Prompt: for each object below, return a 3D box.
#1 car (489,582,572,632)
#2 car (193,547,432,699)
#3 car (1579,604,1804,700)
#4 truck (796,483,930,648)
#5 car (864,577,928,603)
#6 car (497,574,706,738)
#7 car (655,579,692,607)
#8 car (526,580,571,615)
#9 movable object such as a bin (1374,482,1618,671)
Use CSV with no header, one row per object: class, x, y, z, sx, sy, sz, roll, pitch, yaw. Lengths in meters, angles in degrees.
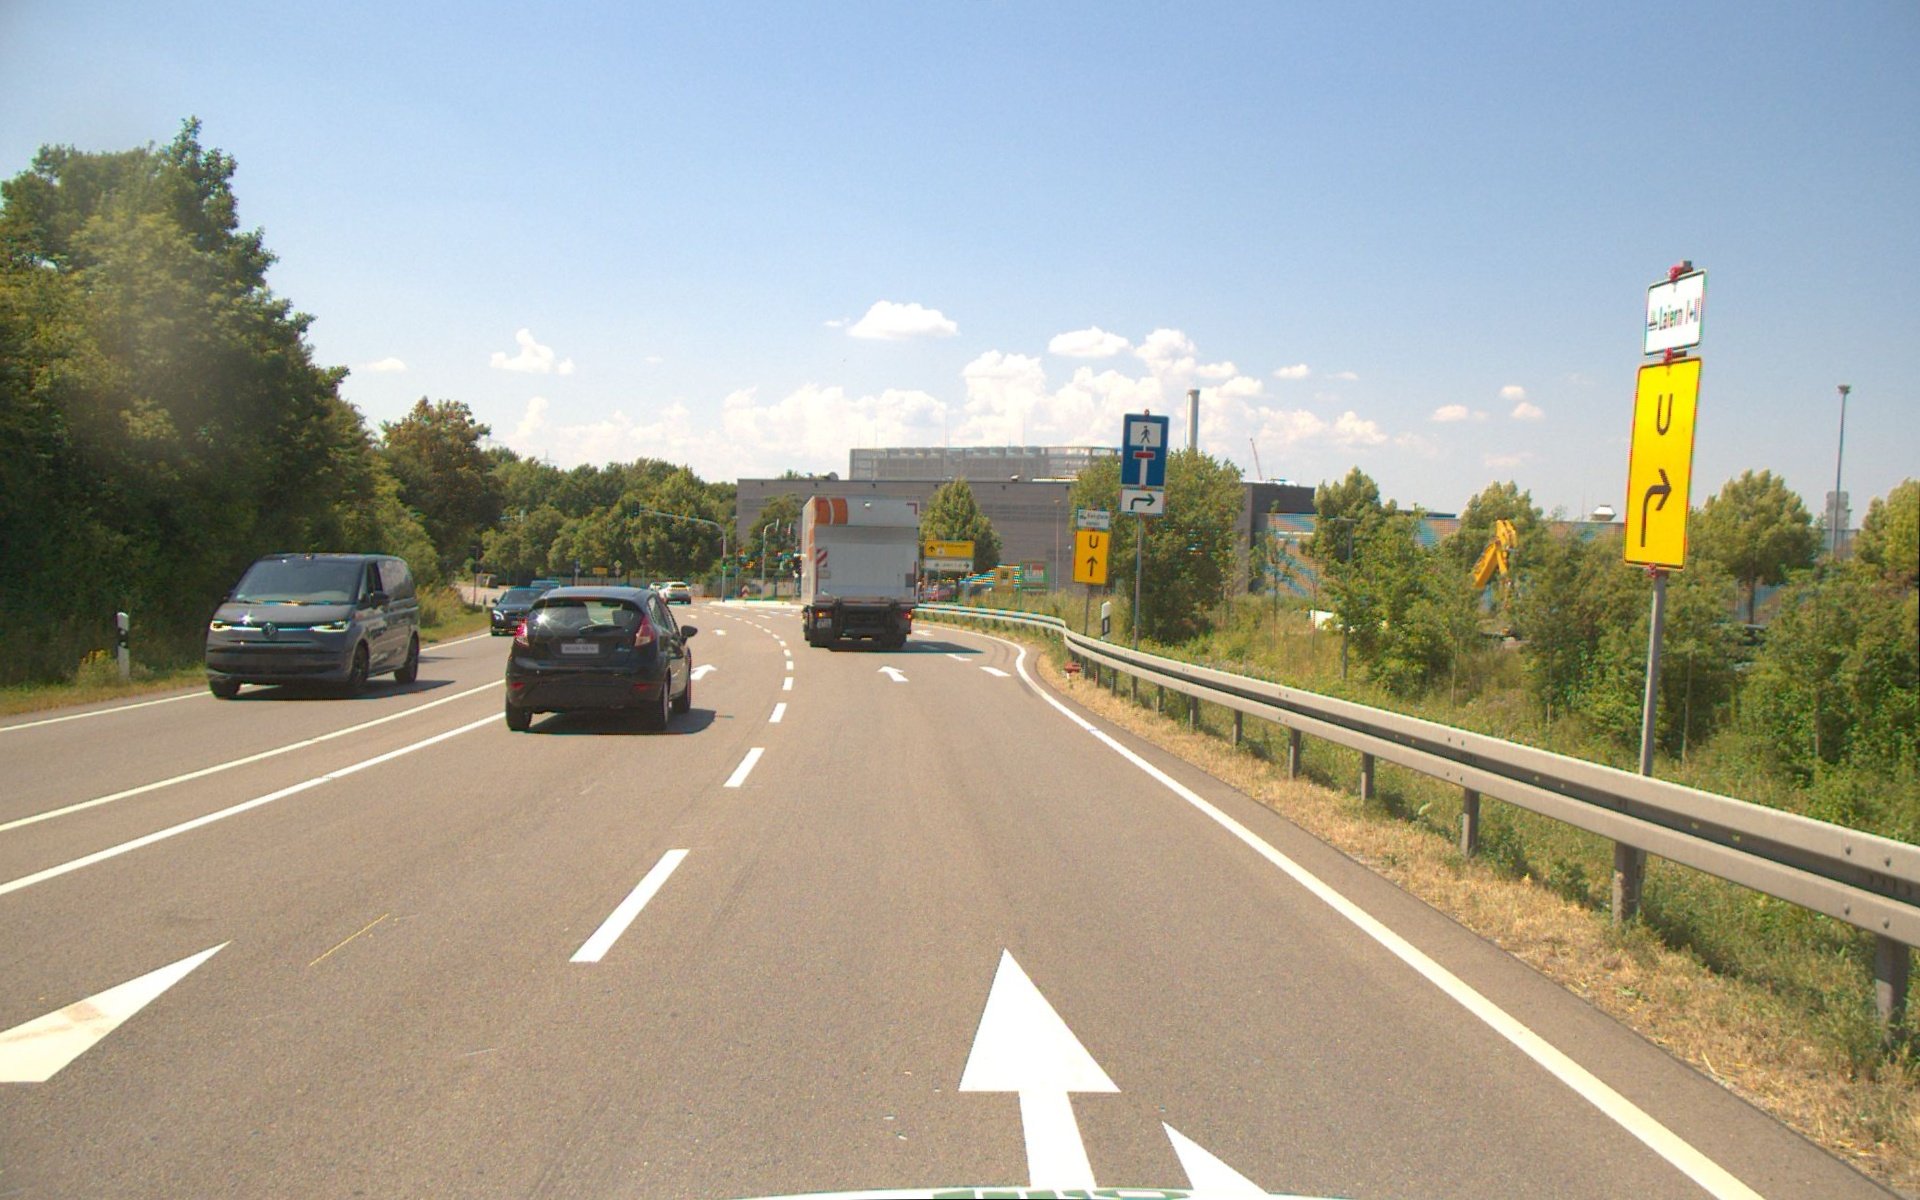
car,-13.133,0.185,50.809,1.782,1.467,4.637,0,1,-6
car,-9.054,0.270,23.626,1.955,1.927,5.096,0,1,-7
car,17.308,1.212,39.258,4.347,1.946,2.062,2,3,-6
truck,-2.687,-0.891,42.840,2.751,3.775,9.093,1,1,-8
car,-4.966,-0.773,128.370,4.644,1.966,2.155,1,0,10
car,-3.883,0.528,18.529,1.620,1.519,4.206,1,2,-3
car,-19.845,-0.496,114.451,1.914,1.693,3.979,3,0,-19
car,-19.293,-0.136,77.476,1.960,1.620,4.664,0,1,-15
movable object such as a bin,16.655,-0.923,52.359,3.361,5.351,9.214,2,3,-9
